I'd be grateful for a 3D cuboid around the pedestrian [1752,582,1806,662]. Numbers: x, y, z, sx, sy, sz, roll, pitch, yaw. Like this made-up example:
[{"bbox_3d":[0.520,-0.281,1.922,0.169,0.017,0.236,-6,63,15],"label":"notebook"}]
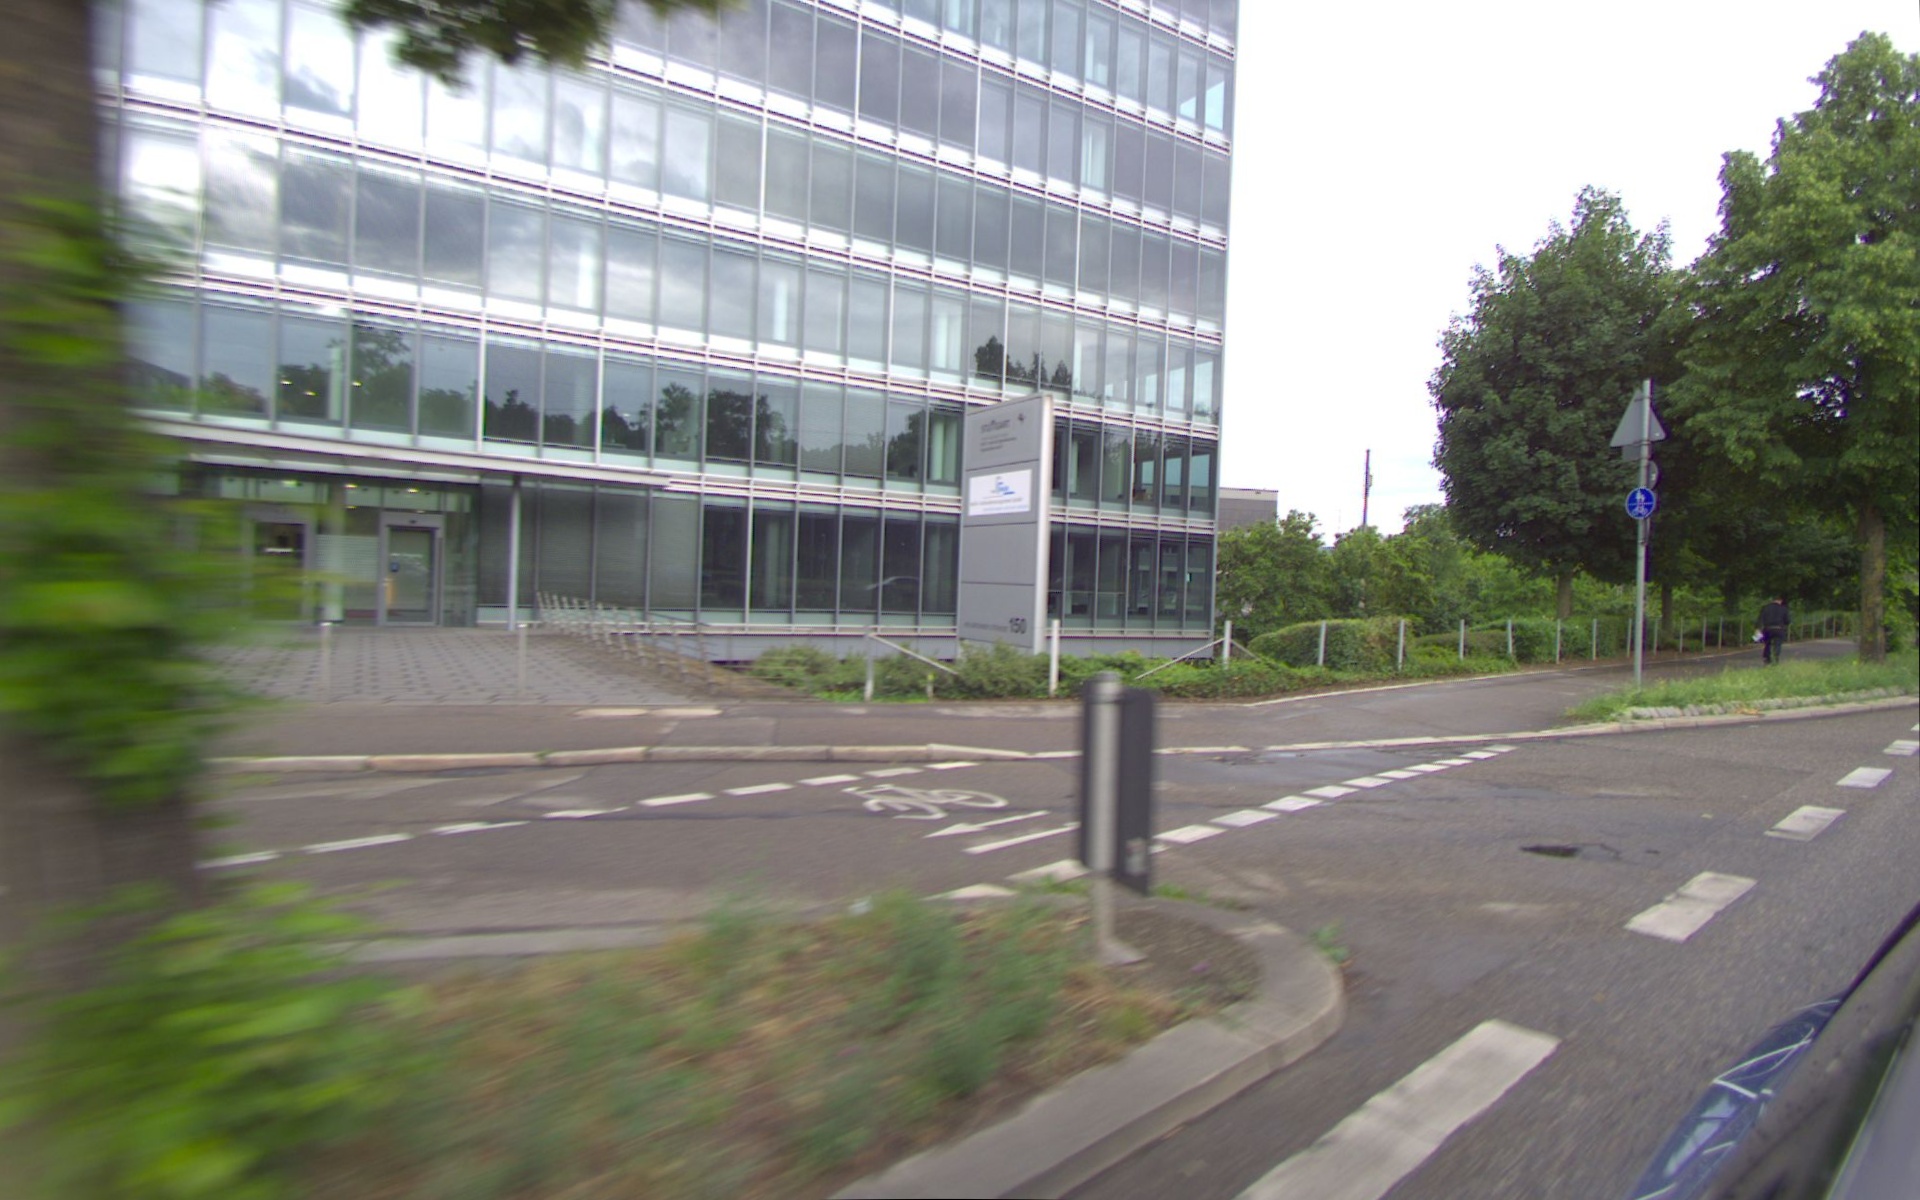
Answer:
[{"bbox_3d":[19.070,0.495,23.558,0.852,1.820,0.827,1,0,-40],"label":"pedestrian"}]
